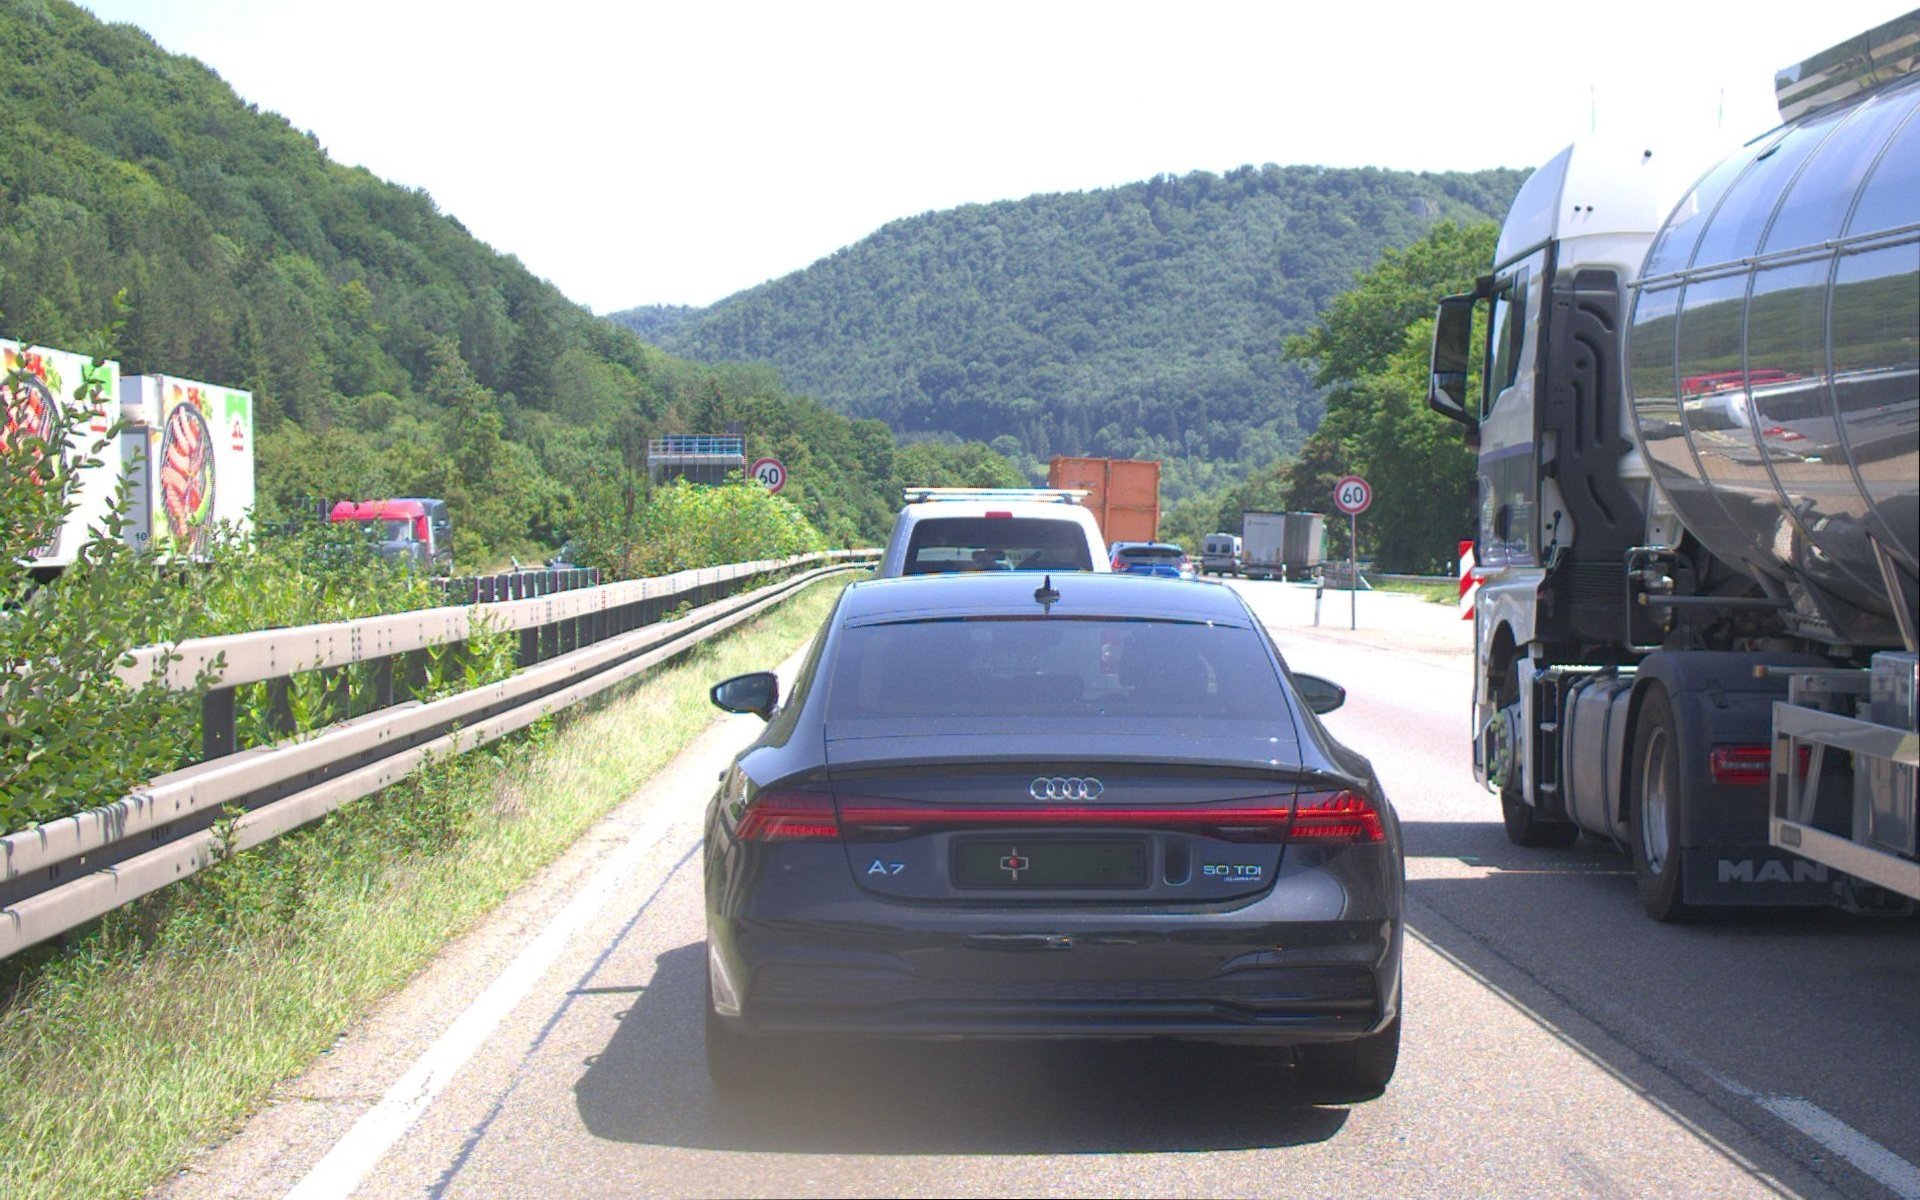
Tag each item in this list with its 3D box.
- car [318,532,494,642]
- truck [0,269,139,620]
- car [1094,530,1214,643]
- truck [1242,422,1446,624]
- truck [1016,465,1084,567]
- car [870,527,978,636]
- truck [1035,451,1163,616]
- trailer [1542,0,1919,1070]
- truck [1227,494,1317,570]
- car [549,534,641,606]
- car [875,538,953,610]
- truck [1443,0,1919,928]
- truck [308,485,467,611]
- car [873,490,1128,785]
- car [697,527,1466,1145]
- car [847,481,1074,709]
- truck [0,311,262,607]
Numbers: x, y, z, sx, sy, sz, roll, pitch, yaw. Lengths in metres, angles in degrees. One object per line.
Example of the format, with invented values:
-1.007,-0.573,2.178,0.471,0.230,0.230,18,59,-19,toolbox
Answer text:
-8.717,-0.239,54.504,1.993,1.635,5.032,1,1,0,car
-12.408,-1.814,41.161,2.869,3.992,10.172,1,1,-1,truck
3.517,-0.274,63.006,1.993,1.996,4.000,0,1,1,car
8.258,-1.667,75.928,2.817,3.989,14.956,1,1,0,truck
3.126,-2.927,121.514,1.993,3.435,11.812,1,1,0,truck
-0.699,-0.378,65.787,1.993,2.007,4.000,0,1,-1,car
3.569,-1.753,91.582,2.817,3.989,14.956,1,1,0,truck
4.048,-0.494,9.679,2.538,3.722,11.892,1,1,-1,trailer
18.839,-4.078,206.683,3.795,4.399,14.948,0,1,11,truck
-8.286,-0.698,78.228,1.776,1.593,4.000,0,1,-2,car
-1.039,-0.619,79.389,1.712,1.613,4.000,0,1,1,car
3.955,-0.611,16.259,2.511,3.745,5.246,1,1,0,truck
-12.419,-1.147,75.127,2.296,2.579,7.968,1,1,-1,truck
0.229,0.201,23.487,1.576,1.827,4.000,1,1,-1,car
0.166,0.540,10.346,1.849,1.483,4.083,1,1,-4,car
-0.022,-0.079,32.571,1.993,2.007,4.000,1,1,-1,car
-12.588,-1.982,50.767,2.869,3.967,9.032,1,1,-1,truck
